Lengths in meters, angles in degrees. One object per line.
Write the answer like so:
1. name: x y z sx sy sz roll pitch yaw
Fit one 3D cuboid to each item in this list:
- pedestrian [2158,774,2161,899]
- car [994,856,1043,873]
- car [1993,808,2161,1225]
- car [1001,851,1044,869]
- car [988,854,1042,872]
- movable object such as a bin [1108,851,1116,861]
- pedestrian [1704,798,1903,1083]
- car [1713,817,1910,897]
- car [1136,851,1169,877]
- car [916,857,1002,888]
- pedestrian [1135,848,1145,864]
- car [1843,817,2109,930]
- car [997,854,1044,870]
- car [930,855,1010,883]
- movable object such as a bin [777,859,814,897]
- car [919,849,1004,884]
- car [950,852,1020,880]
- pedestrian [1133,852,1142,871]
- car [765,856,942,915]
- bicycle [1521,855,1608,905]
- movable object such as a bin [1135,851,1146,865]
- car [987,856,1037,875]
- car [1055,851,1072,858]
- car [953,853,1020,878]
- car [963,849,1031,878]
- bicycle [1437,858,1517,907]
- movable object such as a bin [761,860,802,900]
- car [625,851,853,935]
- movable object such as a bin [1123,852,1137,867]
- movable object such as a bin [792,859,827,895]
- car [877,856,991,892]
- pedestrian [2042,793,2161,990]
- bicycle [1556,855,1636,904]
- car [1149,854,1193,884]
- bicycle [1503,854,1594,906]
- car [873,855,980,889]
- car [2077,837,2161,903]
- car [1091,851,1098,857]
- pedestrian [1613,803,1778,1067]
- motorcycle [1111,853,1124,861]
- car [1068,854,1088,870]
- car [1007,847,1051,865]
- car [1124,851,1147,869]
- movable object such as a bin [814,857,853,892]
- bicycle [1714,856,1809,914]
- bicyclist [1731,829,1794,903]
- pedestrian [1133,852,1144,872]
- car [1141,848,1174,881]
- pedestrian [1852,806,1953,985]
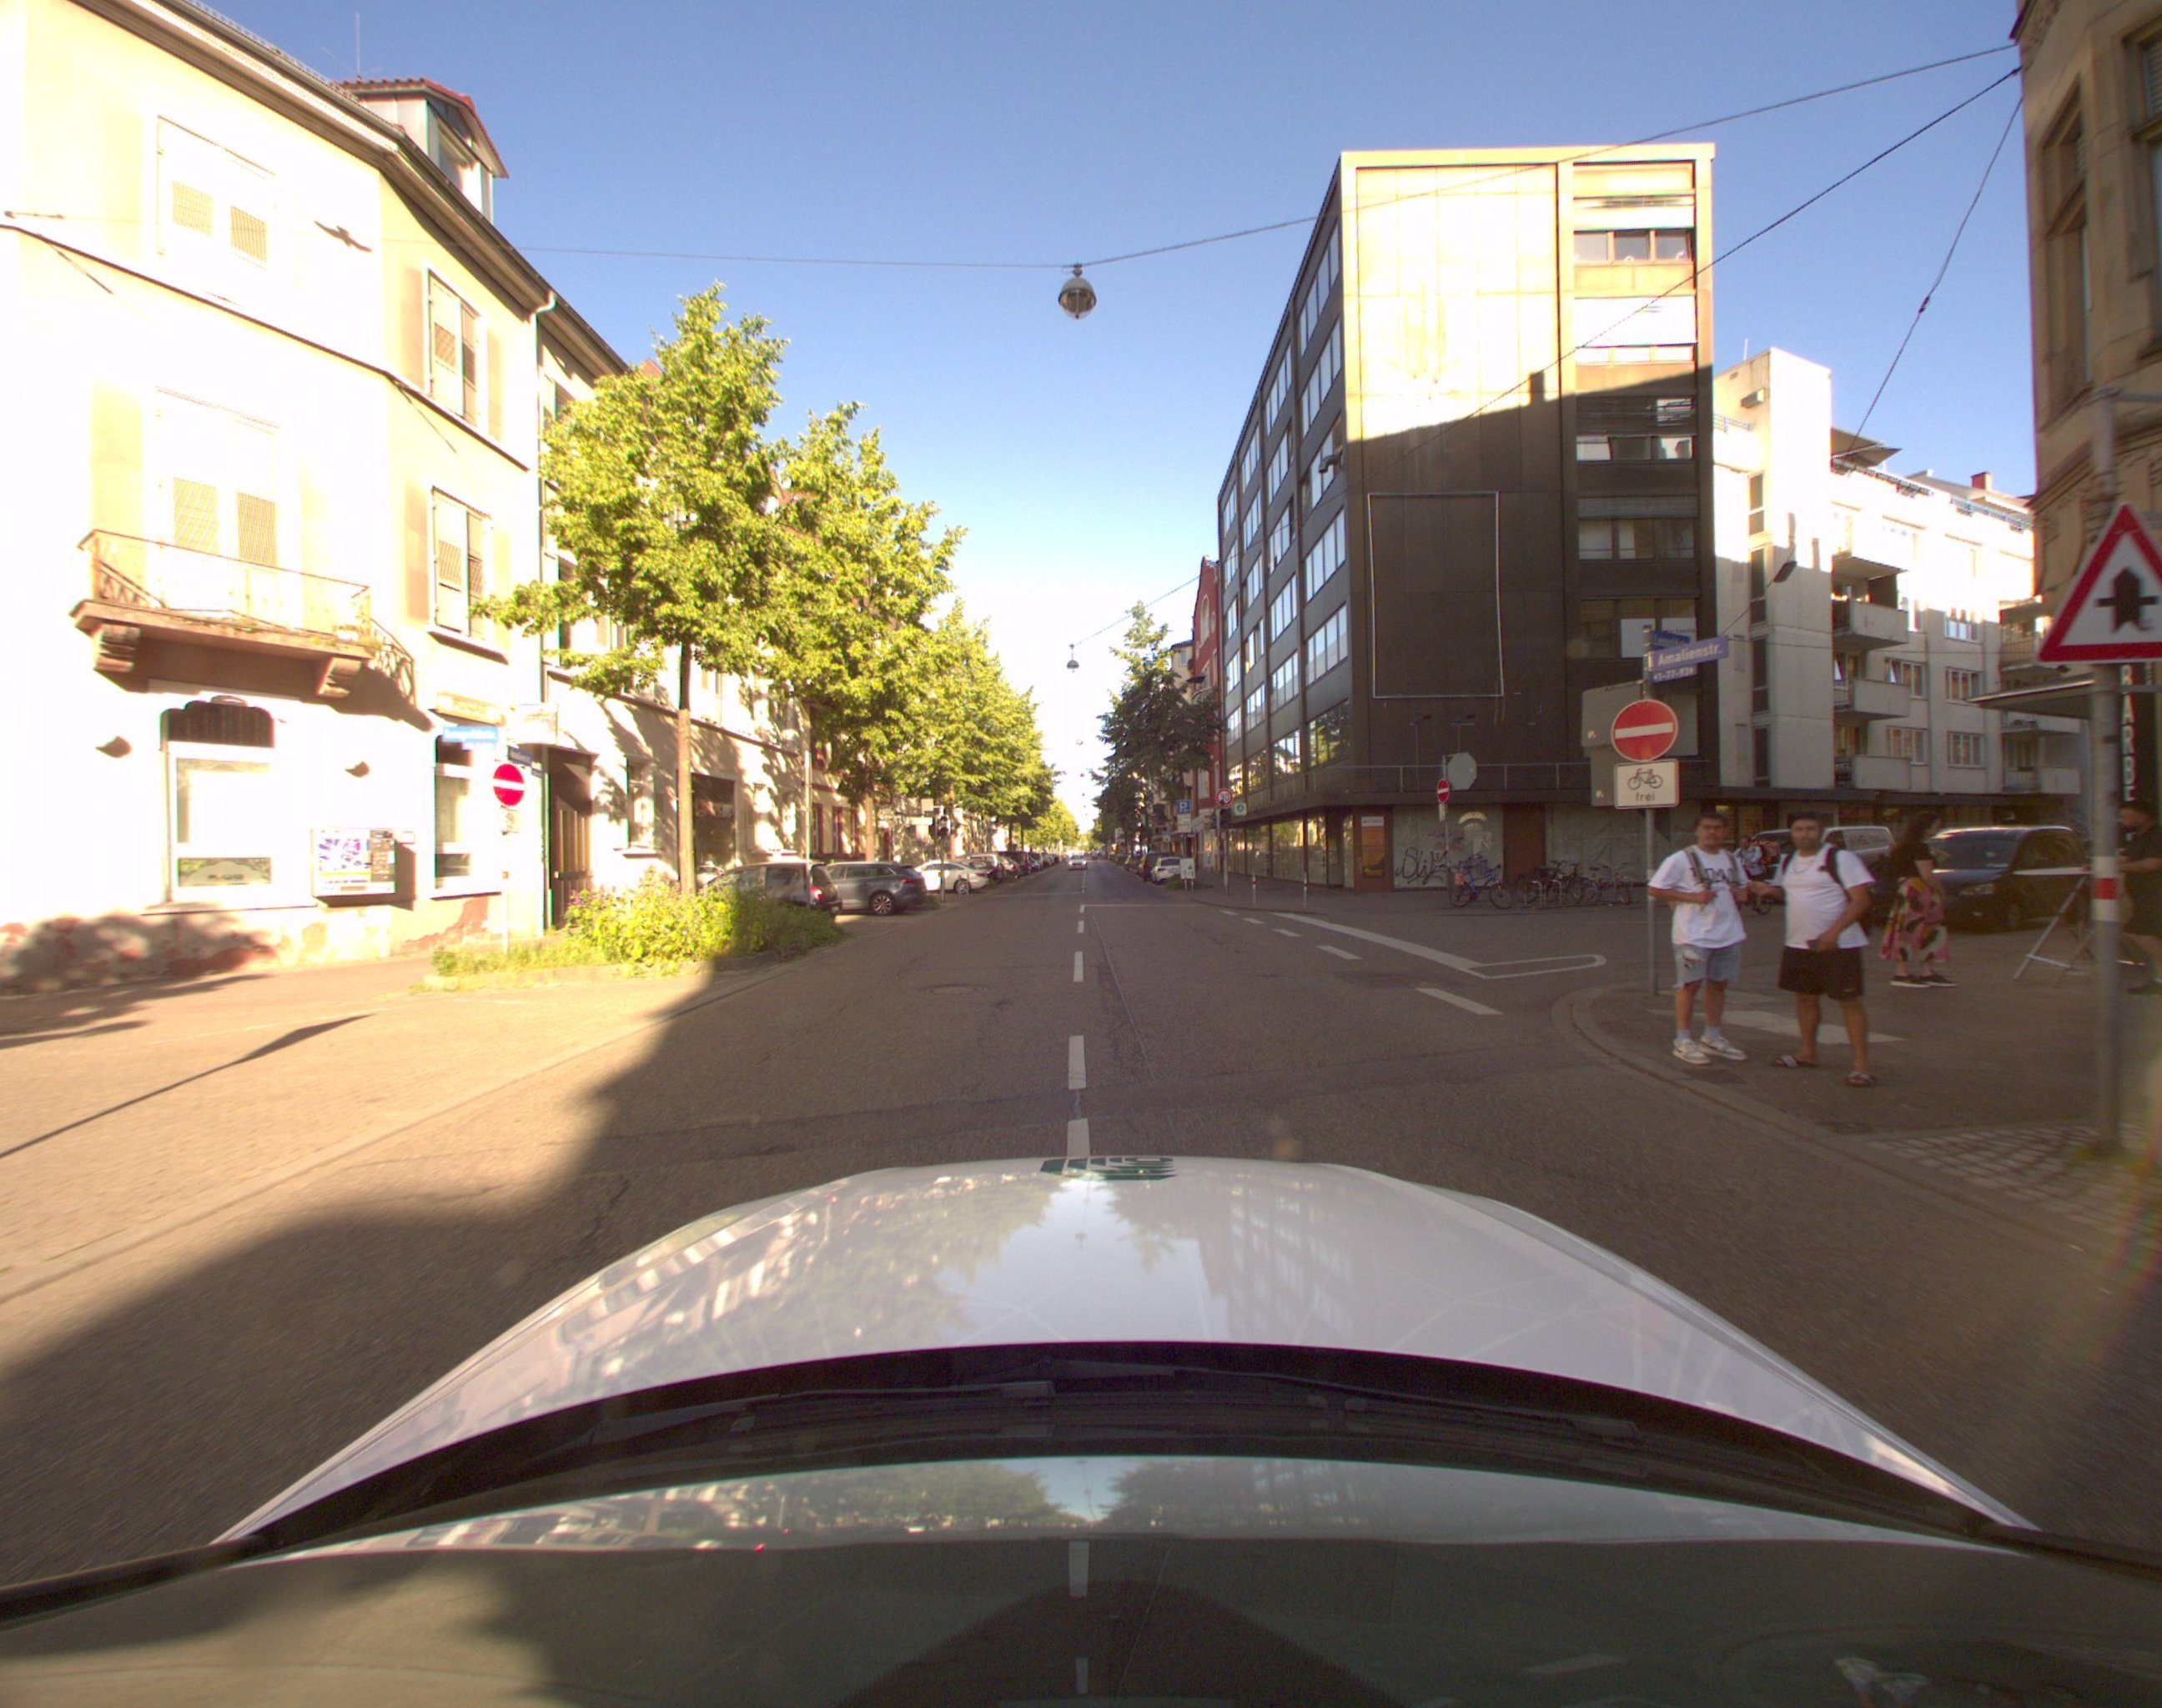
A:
1. pedestrian: 9.009 0.180 6.319 0.493 1.692 0.720 -1 -1 27
2. car: -5.943 0.981 77.901 4.452 1.541 1.916 -1 0 -1
3. car: 5.036 0.570 1.540 1.967 1.574 4.127 -3 0 1
4. car: -6.267 0.637 87.499 4.449 1.772 1.917 -1 0 1
5. car: -5.691 0.762 70.949 4.448 1.541 1.918 -1 0 2
6. movable object such as a bin: 5.513 0.348 144.904 1.136 1.562 1.463 -2 0 9
7. pedestrian: 4.795 0.525 5.431 0.699 1.719 0.689 -3 0 -23
8. car: 19.503 0.048 21.733 4.959 1.929 2.102 -1 0 -24
9. car: 4.925 0.675 56.390 1.816 1.596 4.842 -4 0 1
10. car: -6.380 0.939 42.538 4.341 1.544 1.957 -1 0 -12
11. pedestrian: 7.236 0.185 100.001 0.916 1.935 0.765 -1 0 25
12. car: 16.121 0.286 14.675 4.324 1.771 1.984 -1 0 -24
13. car: -5.972 0.763 80.655 4.446 1.541 1.918 -1 0 3
14. car: -6.479 0.868 47.985 4.319 1.544 1.919 -1 0 4
15. movable object such as a bin: -10.540 0.886 30.089 0.825 1.355 1.249 -1 0 4
16. car: -6.594 0.690 45.264 4.322 1.824 1.931 -1 0 2
17. car: -6.157 0.757 52.508 4.328 1.733 1.915 -1 0 -2
18. pedestrian: 4.652 0.601 67.063 0.648 1.536 0.979 -2 0 -1
19. car: -6.246 0.846 22.738 4.322 1.544 1.945 -1 0 2
20. bicycle: 12.590 0.655 21.249 0.575 1.132 1.910 -1 3 -28
21. movable object such as a bin: 6.309 0.445 86.707 1.074 1.431 1.295 -2 0 0
22. car: -6.166 1.023 73.258 4.325 1.709 1.916 -1 0 0
23. car: -4.172 0.101 195.798 3.968 1.694 2.003 -2 0 5
24. car: -6.329 0.773 54.929 4.328 1.595 1.915 -1 0 -2
25. car: -5.895 0.646 57.511 4.555 1.927 1.931 -1 0 2
26. bicycle: 9.917 0.690 20.438 0.576 1.161 1.725 -2 1 -39
27. movable object such as a bin: -10.565 0.895 28.808 0.905 1.367 1.262 -1 0 4
28. car: -7.128 0.783 17.286 3.971 1.640 1.945 -1 0 2
29. movable object such as a bin: 5.099 0.555 84.359 1.394 1.454 1.146 -2 0 0
30. movable object such as a bin: -10.475 0.872 31.414 0.814 1.362 1.347 -1 0 4
31. car: -6.333 0.879 35.547 4.691 1.492 1.997 0 -1 -5
32. pedestrian: 9.352 0.321 7.356 0.611 1.692 0.720 -1 -1 27
33. bicycle: 13.527 0.652 21.452 0.574 1.132 1.732 -1 3 -24
34. car: 4.739 0.751 43.596 1.816 1.402 4.843 -4 0 1
35. bicycle: 11.977 0.643 20.944 0.575 1.161 2.000 -1 3 -28
36. car: -7.120 0.818 38.014 4.691 1.492 1.997 0 1 -5
37. car: 24.714 0.351 18.437 3.672 1.412 1.762 0 -2 -23
38. car: 3.625 -0.021 220.779 1.786 1.411 4.000 -2 0 0
39. pedestrian: 4.359 0.534 5.852 0.686 1.719 0.900 -4 0 25
40. motorcycle: 6.020 0.447 134.569 1.979 1.330 0.908 -2 0 -12
41. car: -0.307 0.826 82.484 1.903 1.544 4.354 -1 0 1
42. car: -5.744 0.233 90.221 4.663 1.950 1.917 -1 0 1
43. car: 5.014 0.544 75.814 1.816 1.472 4.912 -4 0 1
44. movable object such as a bin: -10.343 0.836 34.137 1.128 1.444 1.383 -1 0 3
45. bicycle: 14.272 0.626 17.075 1.945 1.158 0.664 -1 0 -21
46. bicyclist: 14.296 0.241 17.092 0.890 1.525 0.664 0 0 -21
47. pedestrian: 4.634 0.634 65.764 0.744 1.536 0.811 -2 0 15
48. car: 4.661 0.591 50.025 1.814 1.777 4.936 -4 0 4
49. pedestrian: 8.213 0.401 8.170 0.611 1.692 0.679 -4 -3 44
